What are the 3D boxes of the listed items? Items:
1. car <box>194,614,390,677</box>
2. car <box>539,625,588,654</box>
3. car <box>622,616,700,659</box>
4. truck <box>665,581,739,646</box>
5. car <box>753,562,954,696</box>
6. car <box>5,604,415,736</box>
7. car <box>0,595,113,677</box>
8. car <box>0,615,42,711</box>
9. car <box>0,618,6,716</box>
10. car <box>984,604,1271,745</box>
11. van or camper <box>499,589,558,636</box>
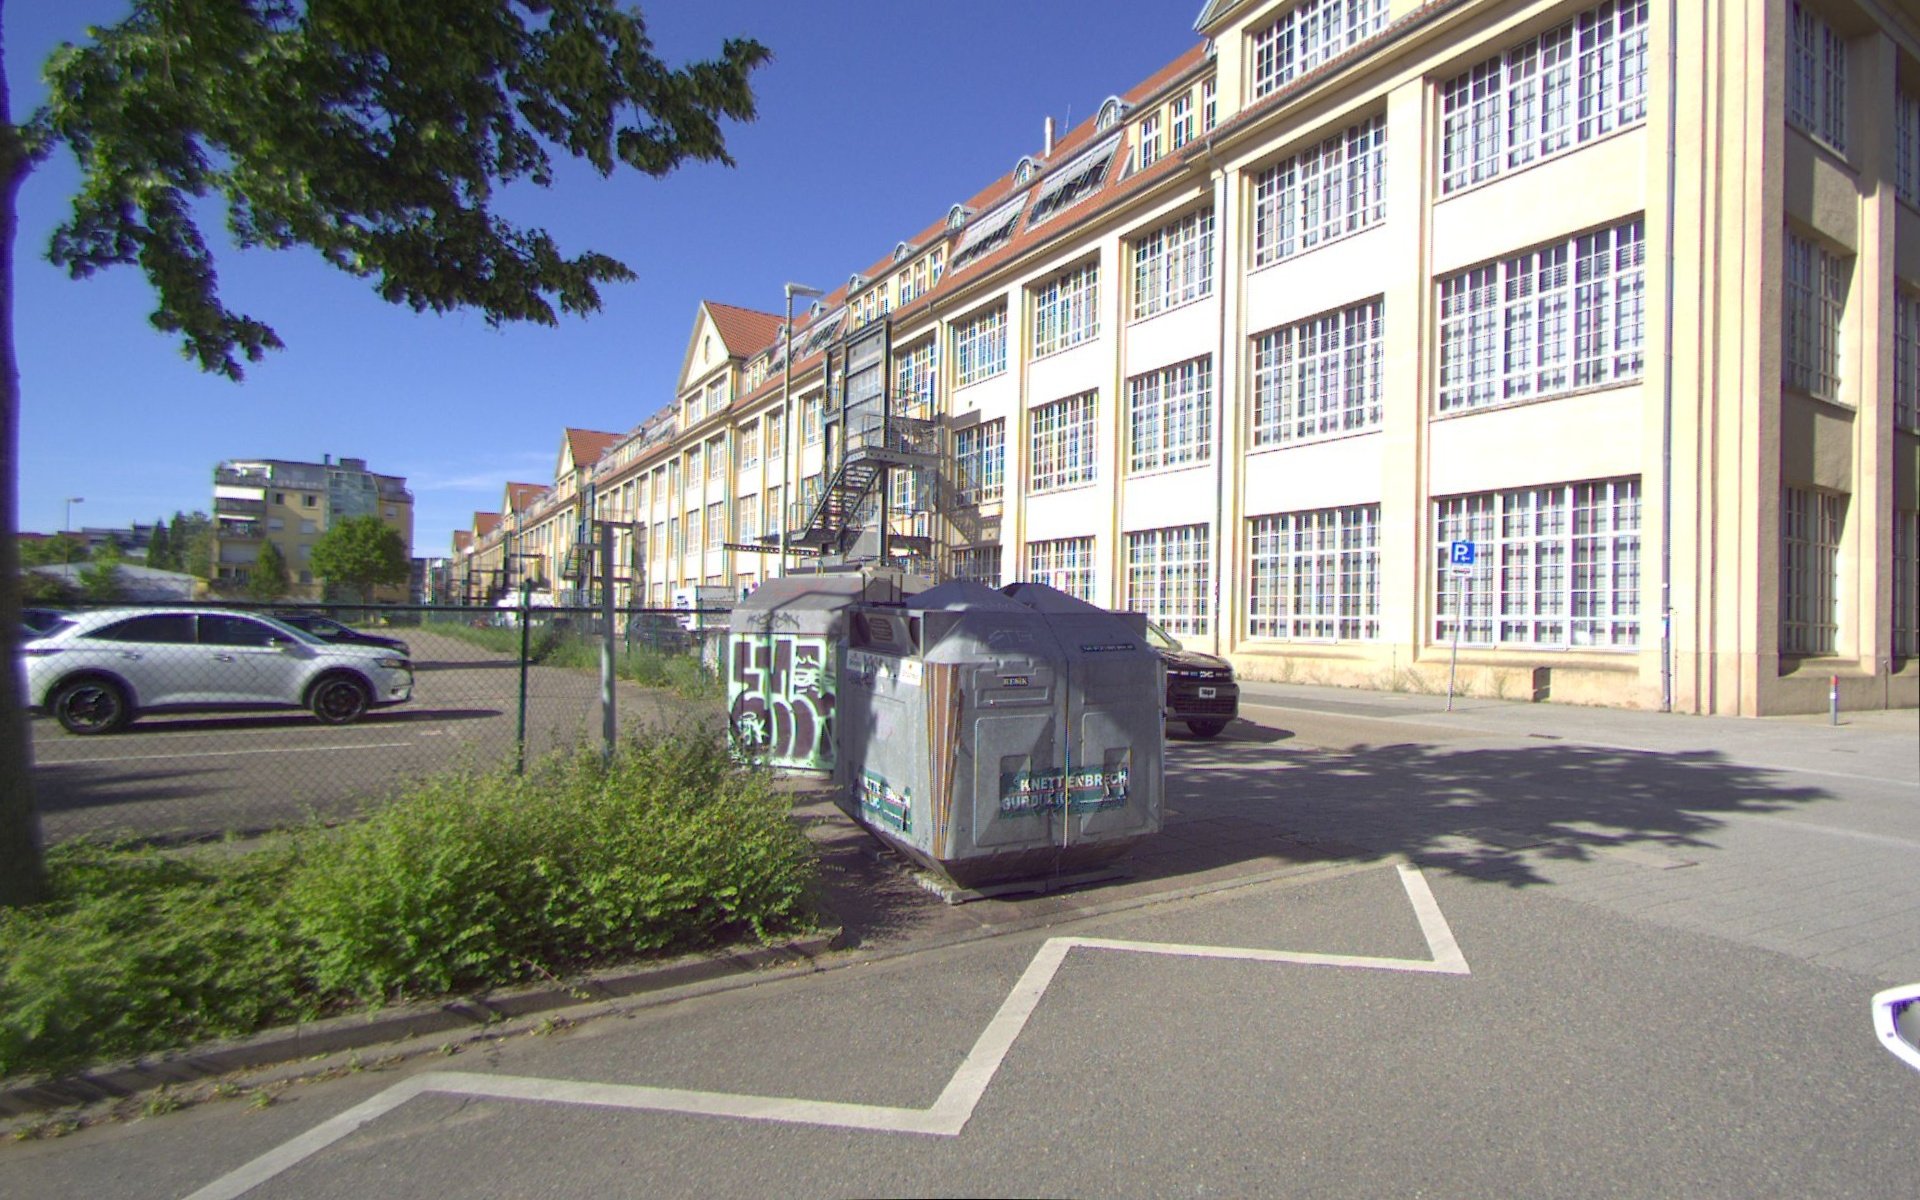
[{"bbox_3d":[-17.824,1.221,27.073,4.191,1.580,1.883,2,-1,-29],"label":"car"},{"bbox_3d":[-21.486,2.130,54.357,1.830,1.444,4.191,3,-2,-30],"label":"car"},{"bbox_3d":[-11.150,1.332,37.290,1.830,1.444,4.191,-1,0,-30],"label":"car"},{"bbox_3d":[-15.053,0.787,58.232,2.470,3.476,7.074,3,-1,-28],"label":"truck"},{"bbox_3d":[-2.639,0.642,22.863,2.140,2.631,6.233,2,-2,-30],"label":"car"},{"bbox_3d":[-10.296,0.939,14.317,4.372,1.631,1.985,2,-1,-29],"label":"car"},{"bbox_3d":[-19.810,0.681,19.839,4.321,1.580,1.958,2,-1,-29],"label":"car"},{"bbox_3d":[-17.344,0.947,15.463,4.321,1.514,1.958,2,-1,-29],"label":"car"},{"bbox_3d":[-16.050,0.946,13.447,4.321,1.475,1.958,2,-1,-29],"label":"car"},{"bbox_3d":[2.232,0.972,14.489,1.976,1.718,4.072,3,-2,-29],"label":"car"},{"bbox_3d":[-28.205,0.808,65.539,2.694,2.895,5.090,3,-1,-32],"label":"van or camper"}]
